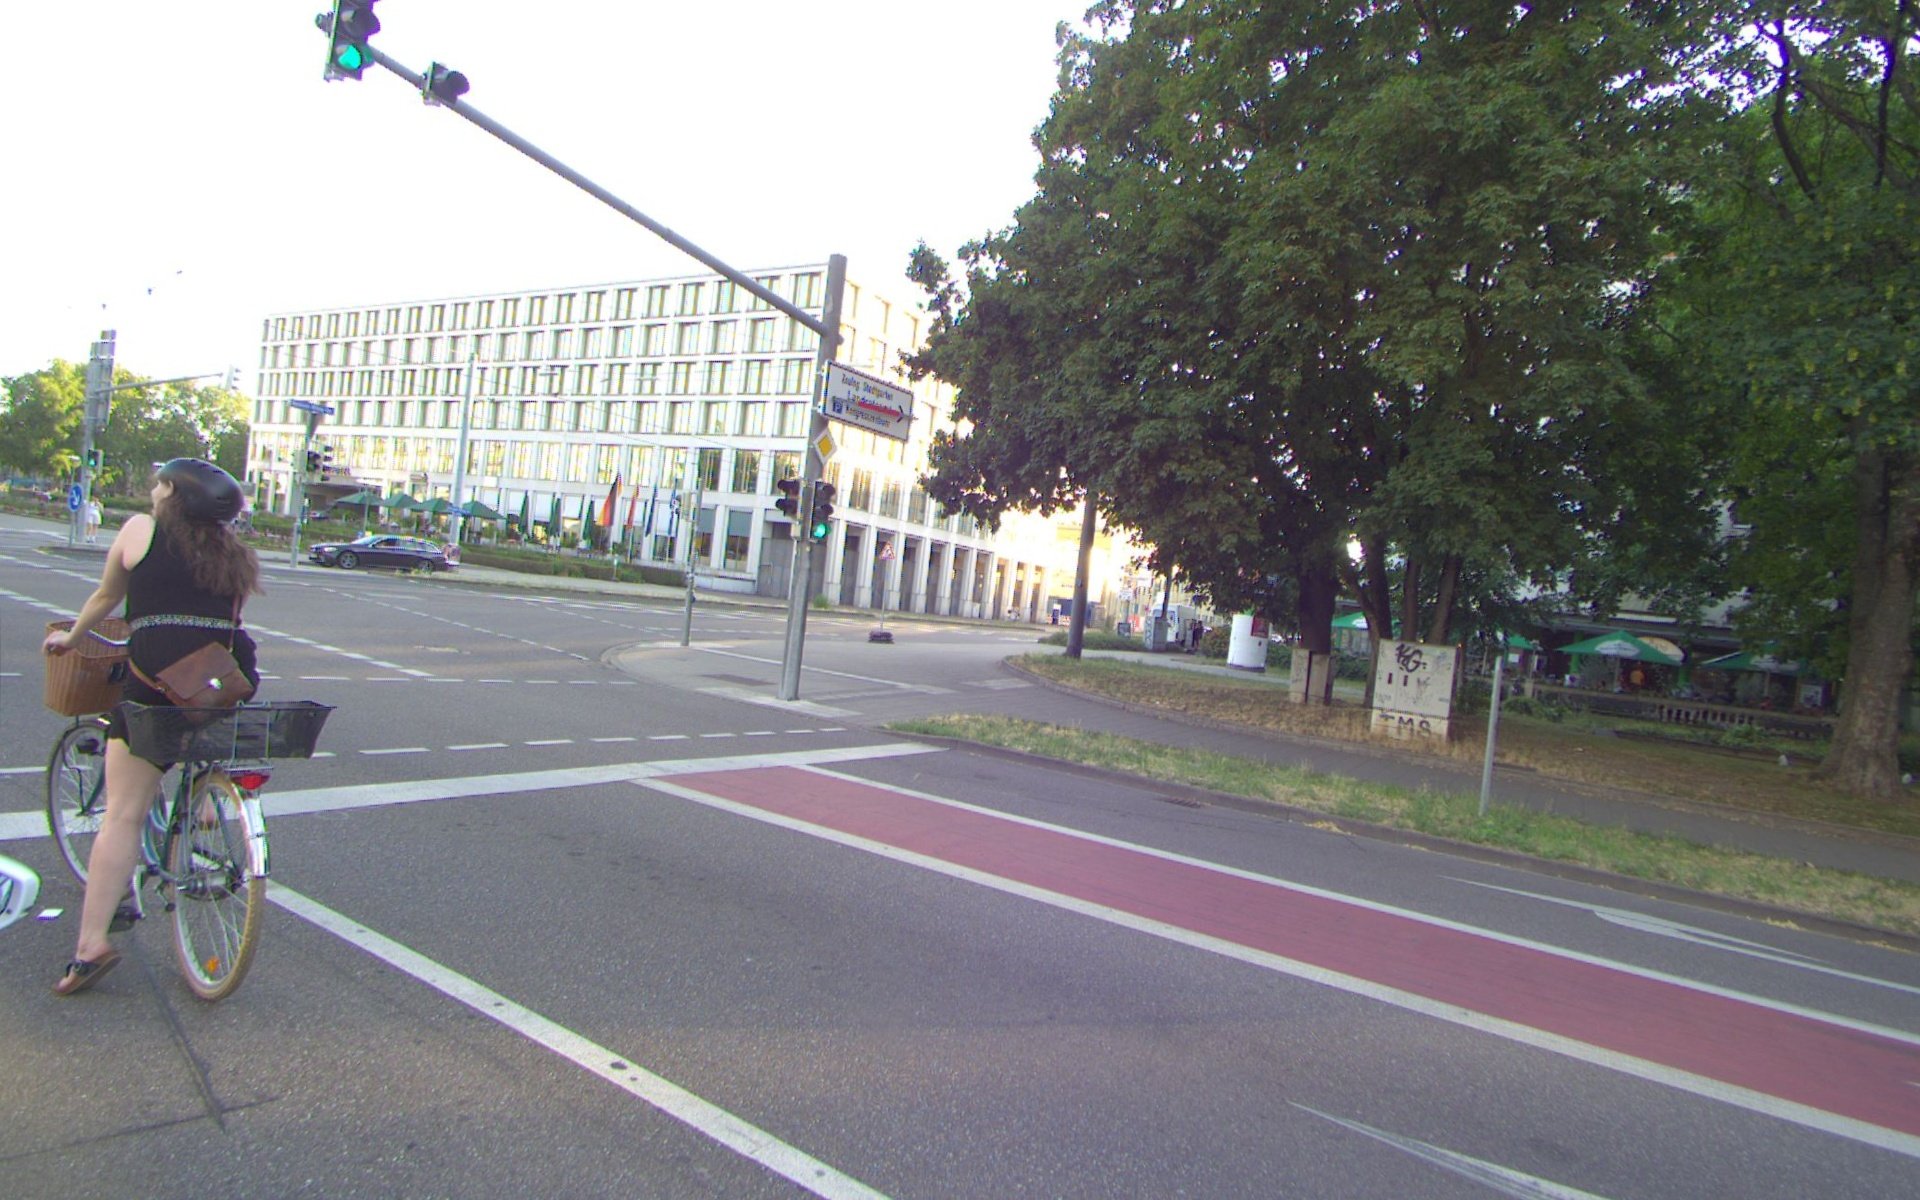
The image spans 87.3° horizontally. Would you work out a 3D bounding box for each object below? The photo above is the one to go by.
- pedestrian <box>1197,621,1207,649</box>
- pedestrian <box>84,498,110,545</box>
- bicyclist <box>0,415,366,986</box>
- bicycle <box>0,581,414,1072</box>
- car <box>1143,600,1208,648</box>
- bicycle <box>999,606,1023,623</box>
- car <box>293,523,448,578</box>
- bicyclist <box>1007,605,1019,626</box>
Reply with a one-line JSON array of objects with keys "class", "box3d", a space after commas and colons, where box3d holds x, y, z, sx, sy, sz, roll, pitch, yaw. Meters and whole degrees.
[{"class": "pedestrian", "box3d": [13.409, 1.934, 55.797, 0.302, 1.525, 0.336, 7, -1, 31]}, {"class": "pedestrian", "box3d": [-30.182, -2.742, 35.167, 0.402, 1.559, 0.491, 7, 2, 31]}, {"class": "bicyclist", "box3d": [-2.687, 0.270, 3.415, 0.982, 1.655, 0.600, 7, 0, 32]}, {"class": "bicycle", "box3d": [-2.791, 0.611, 3.449, 1.971, 1.146, 0.612, 7, -1, 32]}, {"class": "car", "box3d": [11.948, 1.365, 55.548, 1.967, 2.318, 4.605, 6, 0, 31]}, {"class": "bicycle", "box3d": [4.091, 1.174, 80.589, 0.592, 1.120, 2.775, 7, 0, 29]}, {"class": "car", "box3d": [-23.026, -1.901, 39.490, 1.968, 1.534, 4.826, 7, 0, 34]}, {"class": "bicyclist", "box3d": [4.244, 1.235, 80.876, 0.567, 1.556, 0.708, 7, 1, 29]}]
